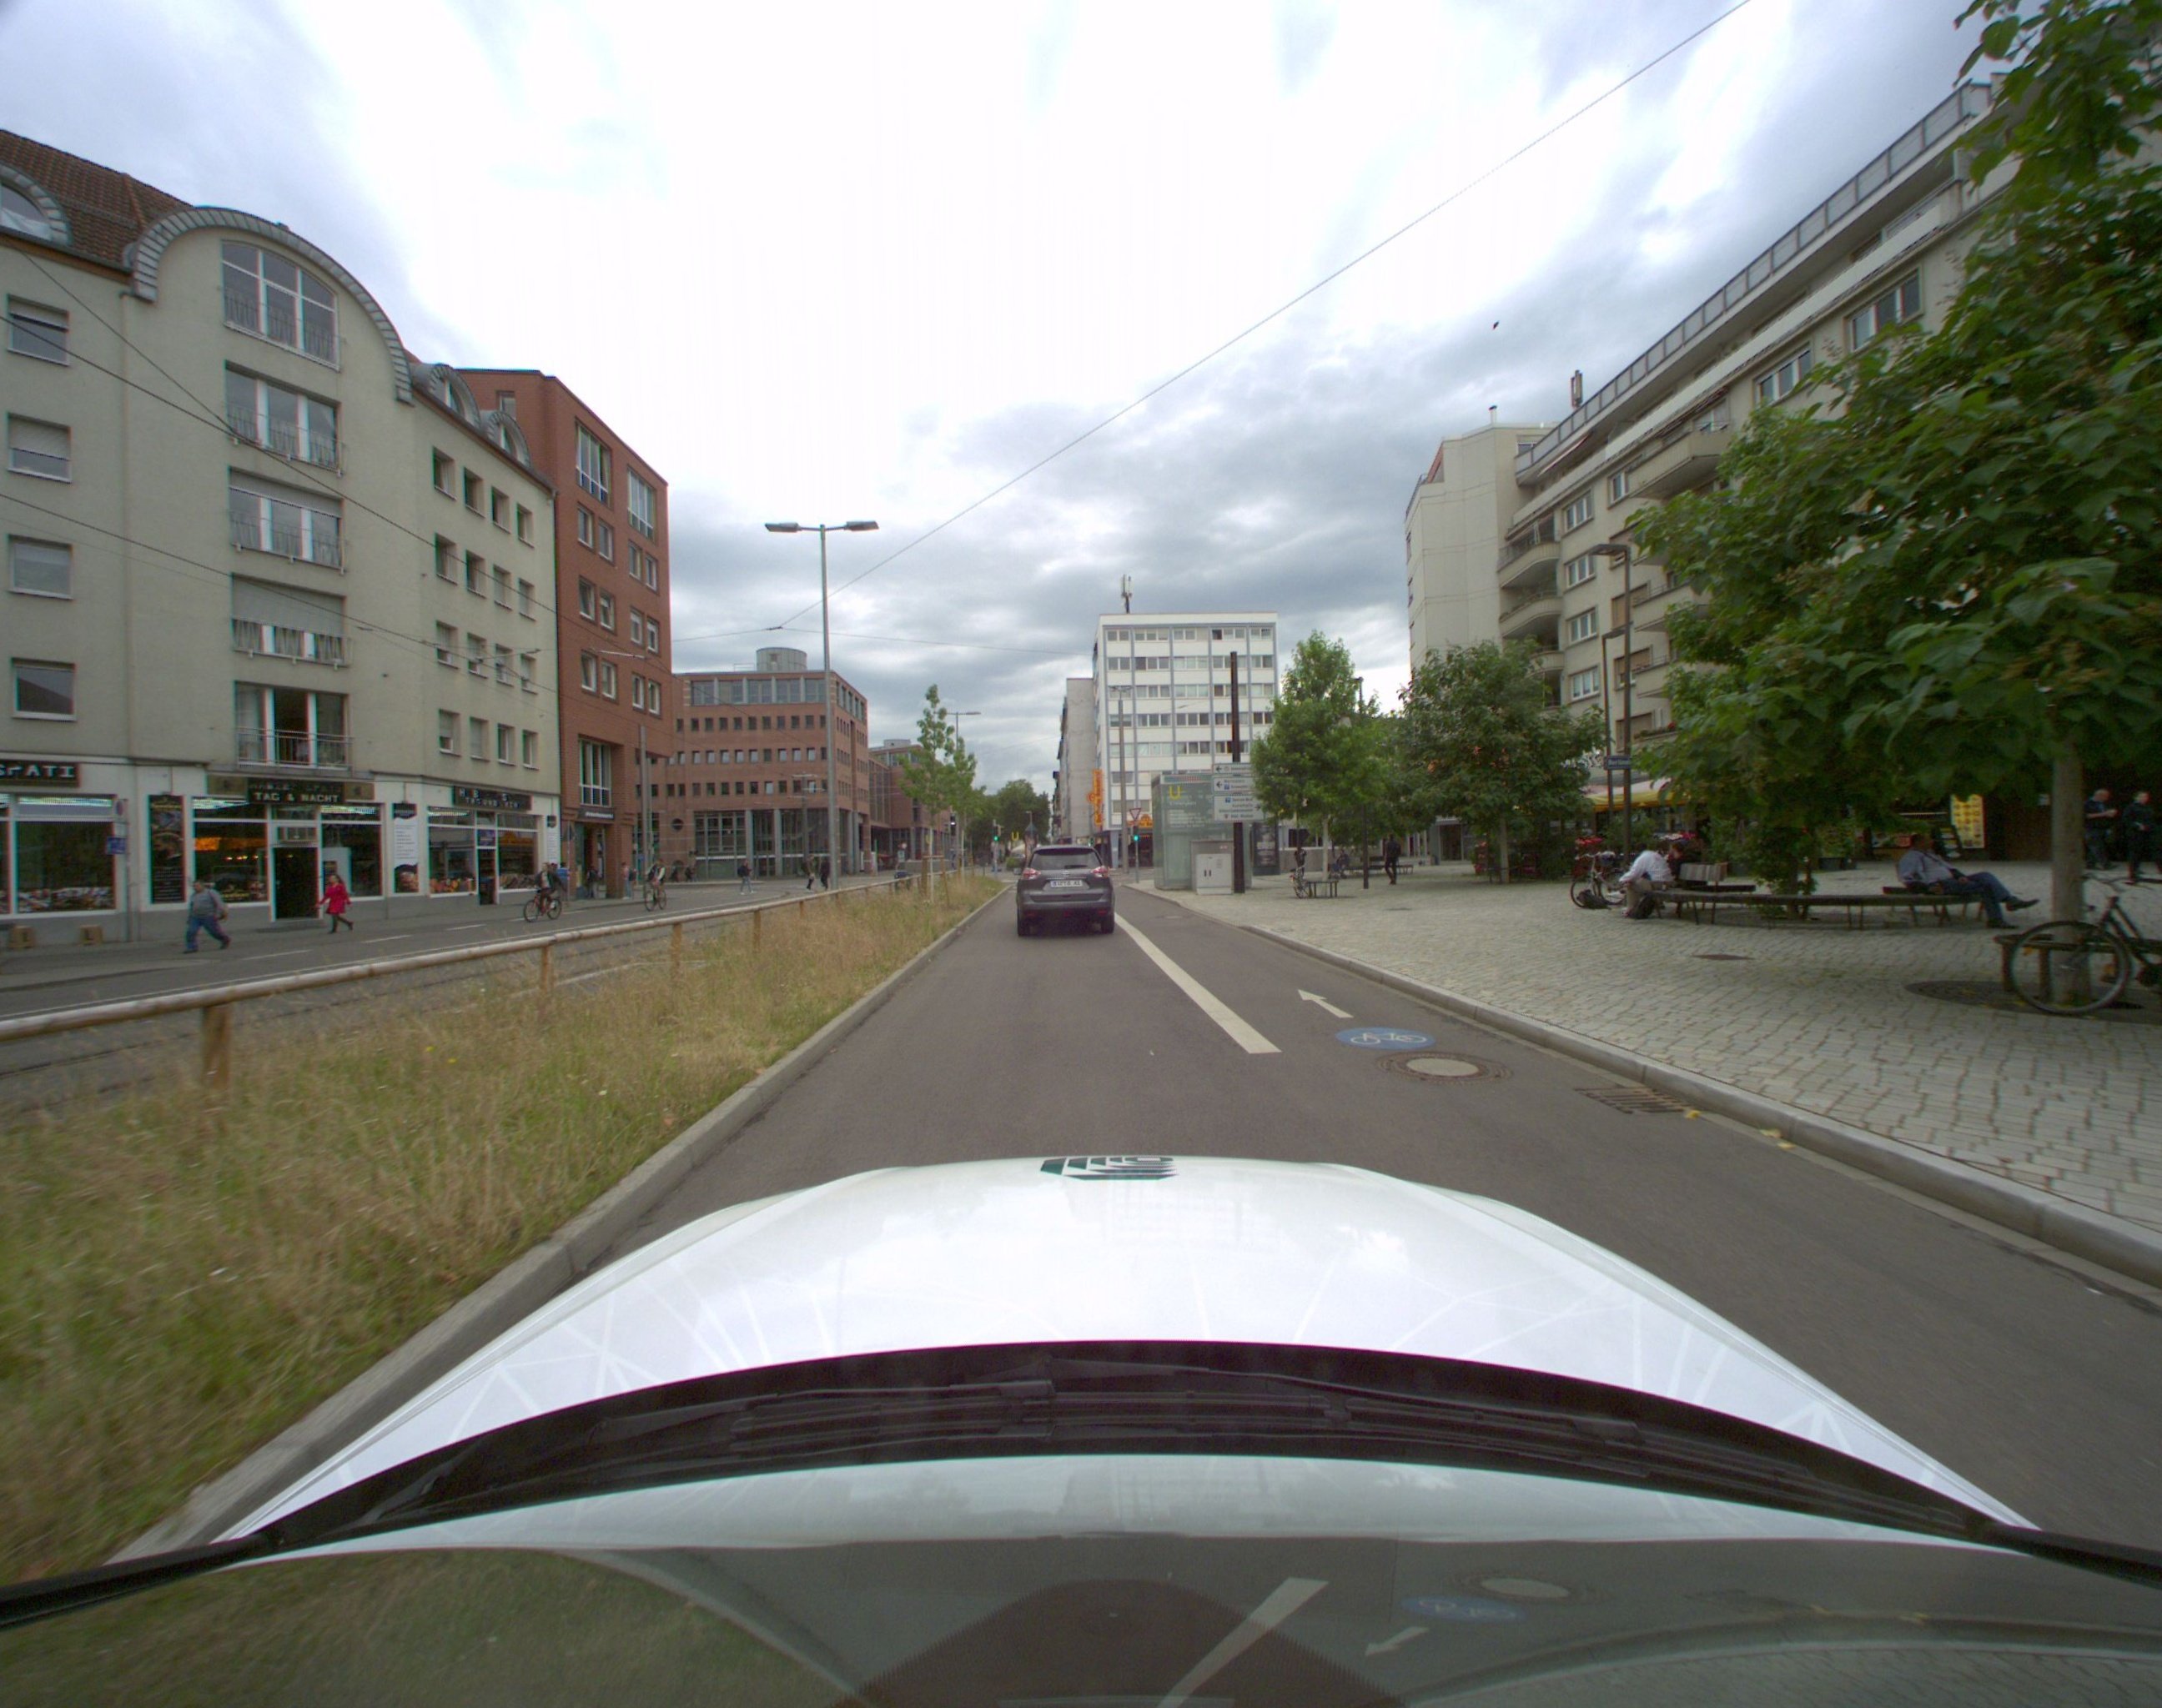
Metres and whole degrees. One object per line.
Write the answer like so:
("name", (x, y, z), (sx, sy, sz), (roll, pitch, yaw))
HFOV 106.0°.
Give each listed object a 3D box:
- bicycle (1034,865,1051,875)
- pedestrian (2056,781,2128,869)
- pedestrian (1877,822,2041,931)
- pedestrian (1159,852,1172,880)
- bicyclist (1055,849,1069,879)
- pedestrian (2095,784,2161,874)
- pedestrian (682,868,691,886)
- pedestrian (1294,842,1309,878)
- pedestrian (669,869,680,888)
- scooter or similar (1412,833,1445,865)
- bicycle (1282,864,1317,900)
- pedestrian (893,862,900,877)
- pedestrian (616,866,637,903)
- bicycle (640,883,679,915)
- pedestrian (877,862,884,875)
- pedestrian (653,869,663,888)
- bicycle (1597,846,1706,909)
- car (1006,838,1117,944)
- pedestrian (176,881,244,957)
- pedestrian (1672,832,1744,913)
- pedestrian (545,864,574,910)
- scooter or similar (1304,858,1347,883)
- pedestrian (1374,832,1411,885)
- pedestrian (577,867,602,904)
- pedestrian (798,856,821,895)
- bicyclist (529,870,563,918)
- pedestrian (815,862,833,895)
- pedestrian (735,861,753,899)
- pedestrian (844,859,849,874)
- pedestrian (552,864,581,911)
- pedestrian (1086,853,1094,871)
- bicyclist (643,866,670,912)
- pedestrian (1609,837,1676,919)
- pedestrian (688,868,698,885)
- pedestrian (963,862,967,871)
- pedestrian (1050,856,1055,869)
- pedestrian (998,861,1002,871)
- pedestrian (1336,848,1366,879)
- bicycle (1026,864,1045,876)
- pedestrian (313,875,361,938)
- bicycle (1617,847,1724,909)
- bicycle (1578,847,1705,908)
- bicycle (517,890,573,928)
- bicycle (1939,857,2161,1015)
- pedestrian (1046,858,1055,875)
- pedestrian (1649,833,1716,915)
("bicycle", (-3.944, 1.632, 83.516), (1.701, 1.065, 0.434), (-1, -1, -19))
("pedestrian", (22.236, -0.618, 17.930), (0.766, 1.885, 0.858), (-1, -1, 36))
("pedestrian", (11.768, 0.290, 10.979), (0.626, 1.366, 1.408), (-1, 0, -3))
("pedestrian", (5.331, 0.771, 51.561), (0.621, 1.761, 0.777), (-1, -1, -10))
("bicyclist", (-1.144, 0.624, 49.504), (0.831, 1.812, 0.877), (-1, -1, 0))
("pedestrian", (21.528, -0.510, 16.637), (0.766, 1.751, 0.722), (-4, 0, 36))
("pedestrian", (-35.813, 2.080, 73.893), (0.745, 1.688, 0.569), (0, -2, -25))
("pedestrian", (11.034, 0.288, 40.762), (0.666, 1.761, 0.644), (-1, -1, 13))
("pedestrian", (-34.844, 2.094, 69.753), (0.570, 1.560, 0.744), (-1, -2, 3))
("scooter or similar", (20.027, -0.288, 47.021), (1.078, 1.806, 2.278), (-2, 0, 6))
("bicycle", (6.578, 0.831, 24.418), (0.652, 0.978, 1.765), (-2, 0, 26))
("pedestrian", (-23.974, 2.020, 105.862), (0.735, 1.842, 0.697), (0, -1, -25))
("pedestrian", (-21.050, 1.420, 37.703), (0.568, 1.684, 0.797), (0, -2, -7))
("bicycle", (-14.742, 1.562, 28.533), (0.475, 1.021, 1.909), (-2, 0, -4))
("pedestrian", (-26.837, 1.939, 108.962), (0.736, 1.842, 0.696), (0, -1, -27))
("pedestrian", (-35.508, 2.047, 68.319), (0.572, 1.574, 0.627), (-1, -2, -10))
("bicycle", (10.812, 0.445, 15.477), (1.589, 1.111, 0.479), (-3, 0, 12))
("car", (-0.261, 0.638, 16.667), (1.856, 1.774, 4.569), (-3, 0, 2))
("pedestrian", (-20.007, 1.484, 18.719), (0.715, 1.687, 0.829), (-3, -2, 17))
("pedestrian", (11.119, 0.313, 14.485), (0.539, 1.366, 1.285), (-1, 0, 15))
("pedestrian", (-19.770, 1.239, 30.875), (0.660, 1.687, 0.720), (-2, -2, -12))
("scooter or similar", (10.452, 0.702, 34.807), (1.571, 0.948, 0.730), (-4, -1, 35))
("pedestrian", (11.068, 0.173, 28.972), (0.712, 1.802, 1.076), (-4, -1, -4))
("pedestrian", (-23.181, 1.475, 38.405), (0.743, 1.684, 0.797), (0, -2, -7))
("pedestrian", (-13.616, 1.079, 40.884), (0.895, 1.890, 0.798), (0, -2, -5))
("bicyclist", (-16.019, 1.184, 24.393), (0.478, 1.407, 0.811), (-2, 0, -4))
("pedestrian", (-13.464, 1.284, 42.647), (0.743, 1.684, 0.797), (0, -2, -7))
("pedestrian", (-17.126, 1.322, 41.380), (0.609, 1.890, 0.798), (-1, -1, -5))
("pedestrian", (-24.281, 1.299, 84.255), (0.450, 1.532, 0.518), (-1, -1, -20))
("pedestrian", (-18.969, 1.233, 30.038), (0.661, 1.687, 0.719), (-2, -2, -15))
("pedestrian", (0.867, 0.803, 78.620), (0.706, 1.705, 0.736), (-1, -1, 9))
("bicyclist", (-14.752, 1.192, 28.288), (0.490, 1.540, 0.811), (-2, 0, -4))
("pedestrian", (9.573, 0.398, 13.899), (0.630, 1.366, 0.683), (-1, -1, -21))
("pedestrian", (-35.845, 2.101, 75.235), (0.745, 1.560, 0.570), (0, -2, -24))
("pedestrian", (-20.503, 2.201, 143.610), (0.600, 1.714, 0.653), (-1, -1, -10))
("pedestrian", (-3.760, 1.151, 106.206), (0.641, 1.705, 0.558), (-1, -1, -2))
("pedestrian", (-14.781, 2.148, 148.265), (0.600, 1.714, 0.653), (-1, -1, -10))
("pedestrian", (11.758, 0.401, 35.489), (1.040, 1.297, 0.733), (-3, -1, 2))
("bicycle", (-4.695, 1.620, 83.797), (1.871, 1.172, 0.528), (-1, -1, -17))
("pedestrian", (-20.590, 1.428, 22.542), (0.721, 1.687, 0.659), (-2, -2, -13))
("bicycle", (11.394, 0.454, 15.776), (1.589, 1.111, 0.479), (-3, 0, 12))
("bicycle", (11.172, 0.461, 16.282), (2.020, 1.111, 0.479), (-3, 0, 12))
("bicycle", (-16.018, 1.626, 24.380), (0.478, 1.021, 1.909), (-2, 0, -4))
("bicycle", (7.856, 0.591, 6.151), (1.903, 1.123, 0.646), (-1, 0, 8))
("pedestrian", (-3.106, 1.241, 83.195), (0.733, 1.746, 0.660), (-1, -1, -15))
("pedestrian", (10.409, 0.341, 14.127), (0.623, 1.366, 0.923), (-1, 0, 15))
